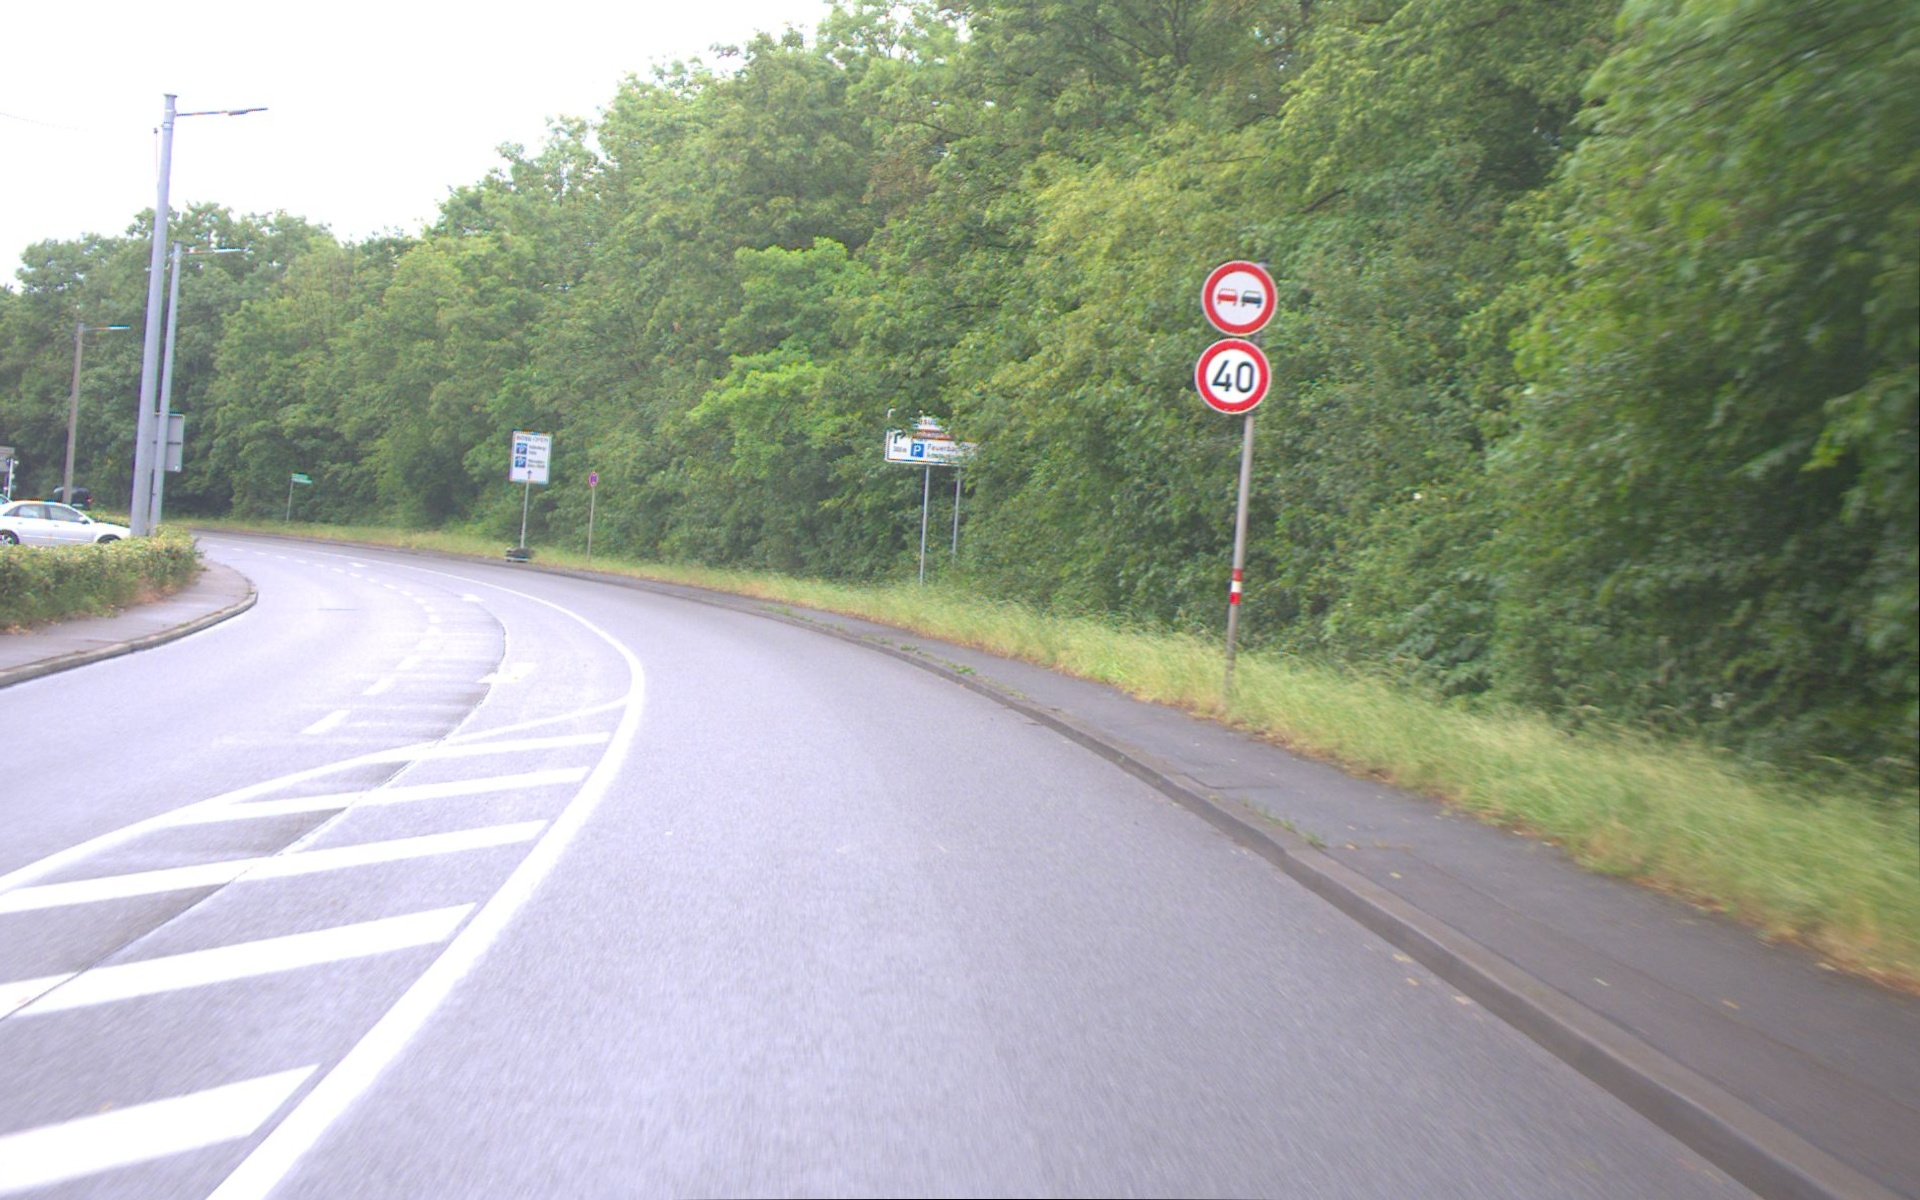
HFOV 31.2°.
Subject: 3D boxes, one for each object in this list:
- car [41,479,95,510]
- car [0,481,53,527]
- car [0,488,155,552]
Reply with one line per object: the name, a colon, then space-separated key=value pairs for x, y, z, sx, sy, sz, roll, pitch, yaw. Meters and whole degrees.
car: x=-47.318 y=-5.592 z=182.366 sx=1.934 sy=1.493 sz=4.319 roll=2 pitch=2 yaw=-25
car: x=-37.499 y=-3.791 z=133.462 sx=4.289 sy=1.702 sz=2.001 roll=2 pitch=1 yaw=-17
car: x=-23.400 y=-2.100 z=89.301 sx=4.574 sy=1.501 sz=2.001 roll=2 pitch=1 yaw=-20
